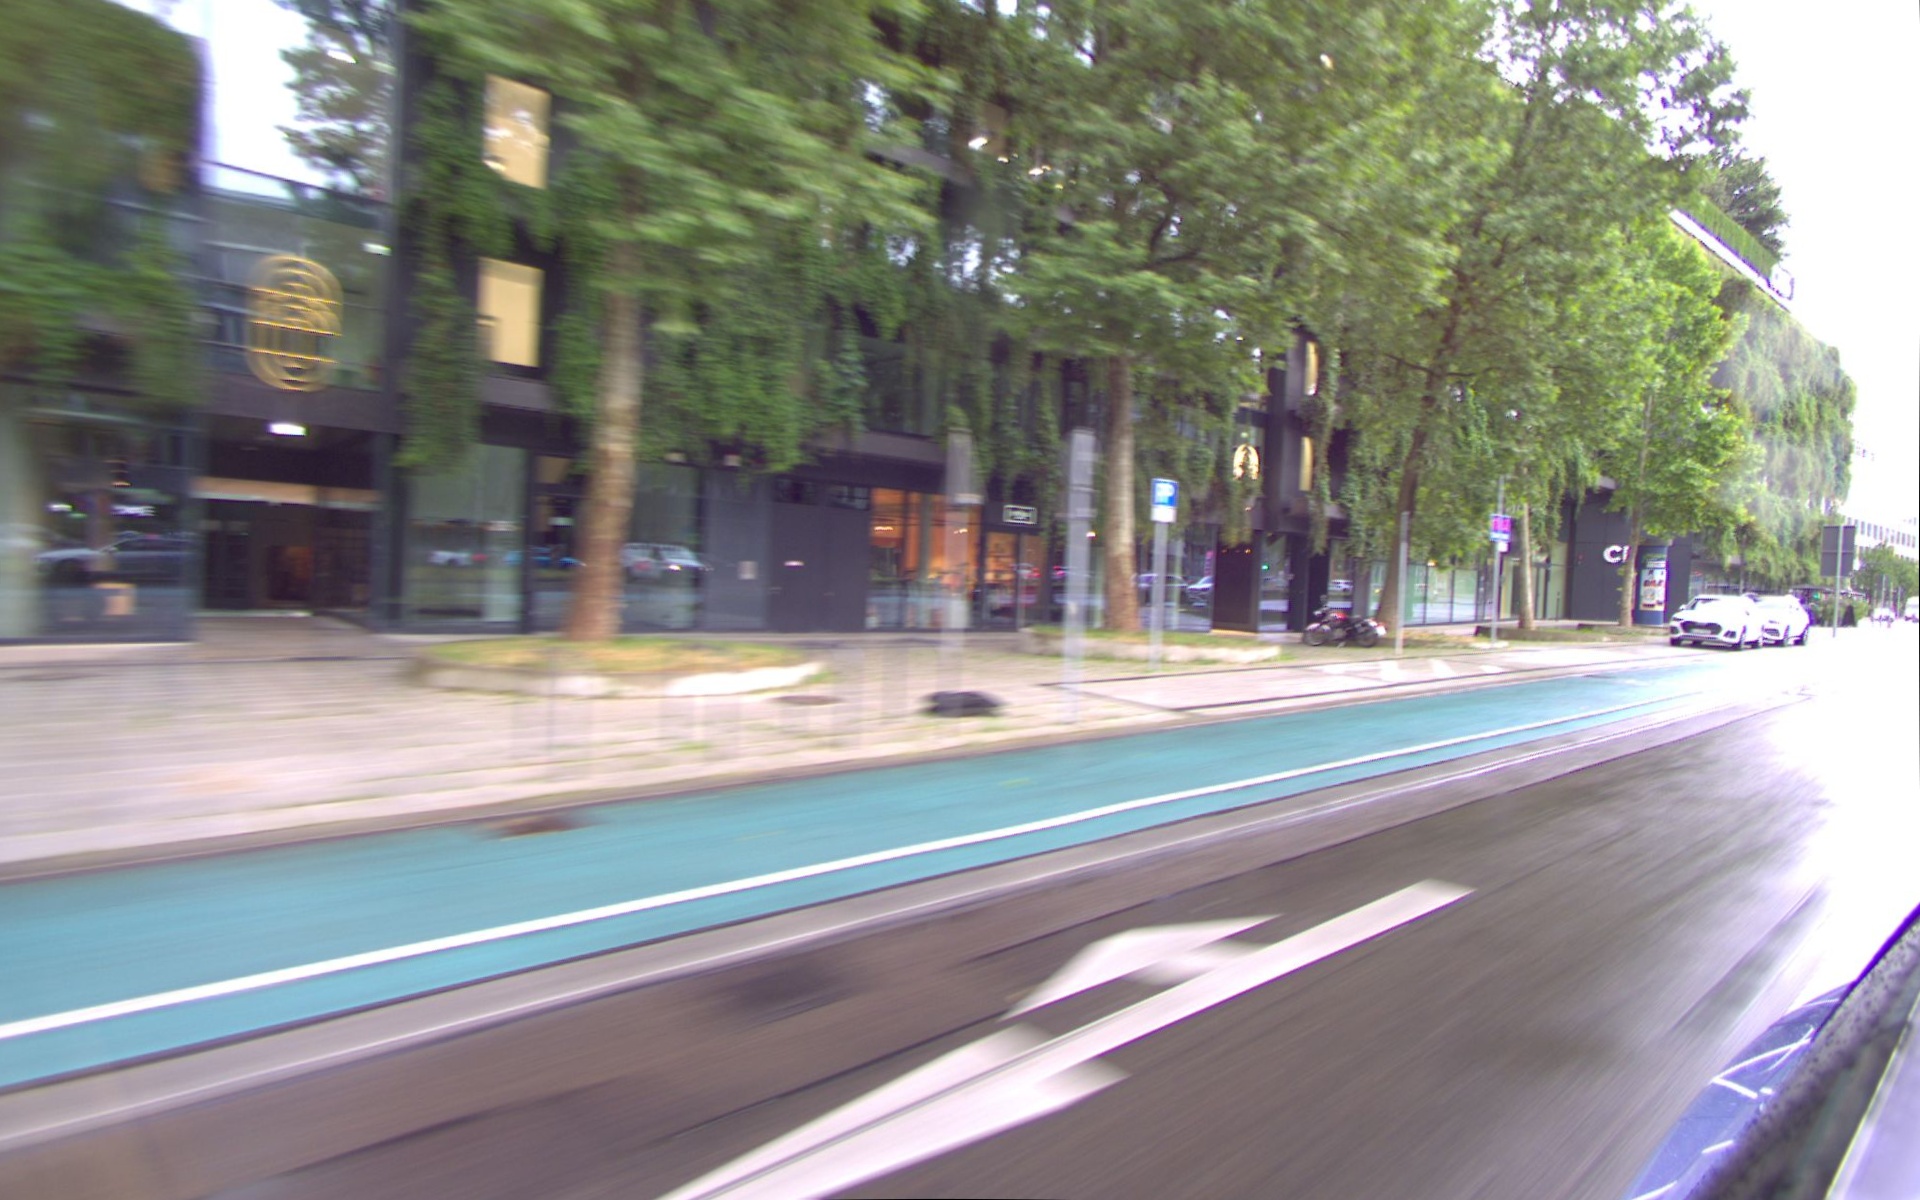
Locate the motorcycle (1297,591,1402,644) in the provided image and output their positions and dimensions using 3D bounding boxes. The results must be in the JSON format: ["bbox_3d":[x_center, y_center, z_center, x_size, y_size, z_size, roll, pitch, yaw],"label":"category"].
[{"bbox_3d":[10.000,0.433,26.062,1.034,1.286,2.311,1,0,-41],"label":"motorcycle"}]

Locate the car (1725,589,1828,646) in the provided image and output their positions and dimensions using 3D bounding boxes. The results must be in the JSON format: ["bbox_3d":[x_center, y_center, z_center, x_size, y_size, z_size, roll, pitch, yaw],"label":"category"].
[{"bbox_3d":[29.154,0.592,36.075,5.002,1.861,1.848,0,2,-39],"label":"car"}]

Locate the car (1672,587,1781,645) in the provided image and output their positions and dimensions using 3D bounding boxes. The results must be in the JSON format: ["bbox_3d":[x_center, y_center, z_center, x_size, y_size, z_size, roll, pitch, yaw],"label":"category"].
[{"bbox_3d":[24.454,0.488,32.219,4.703,1.653,1.847,1,1,-42],"label":"car"}]

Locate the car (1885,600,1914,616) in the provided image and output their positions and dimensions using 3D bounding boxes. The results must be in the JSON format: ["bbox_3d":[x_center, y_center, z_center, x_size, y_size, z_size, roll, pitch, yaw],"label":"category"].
[{"bbox_3d":[98.407,0.848,105.954,4.589,1.571,1.738,0,2,-41],"label":"car"}]
